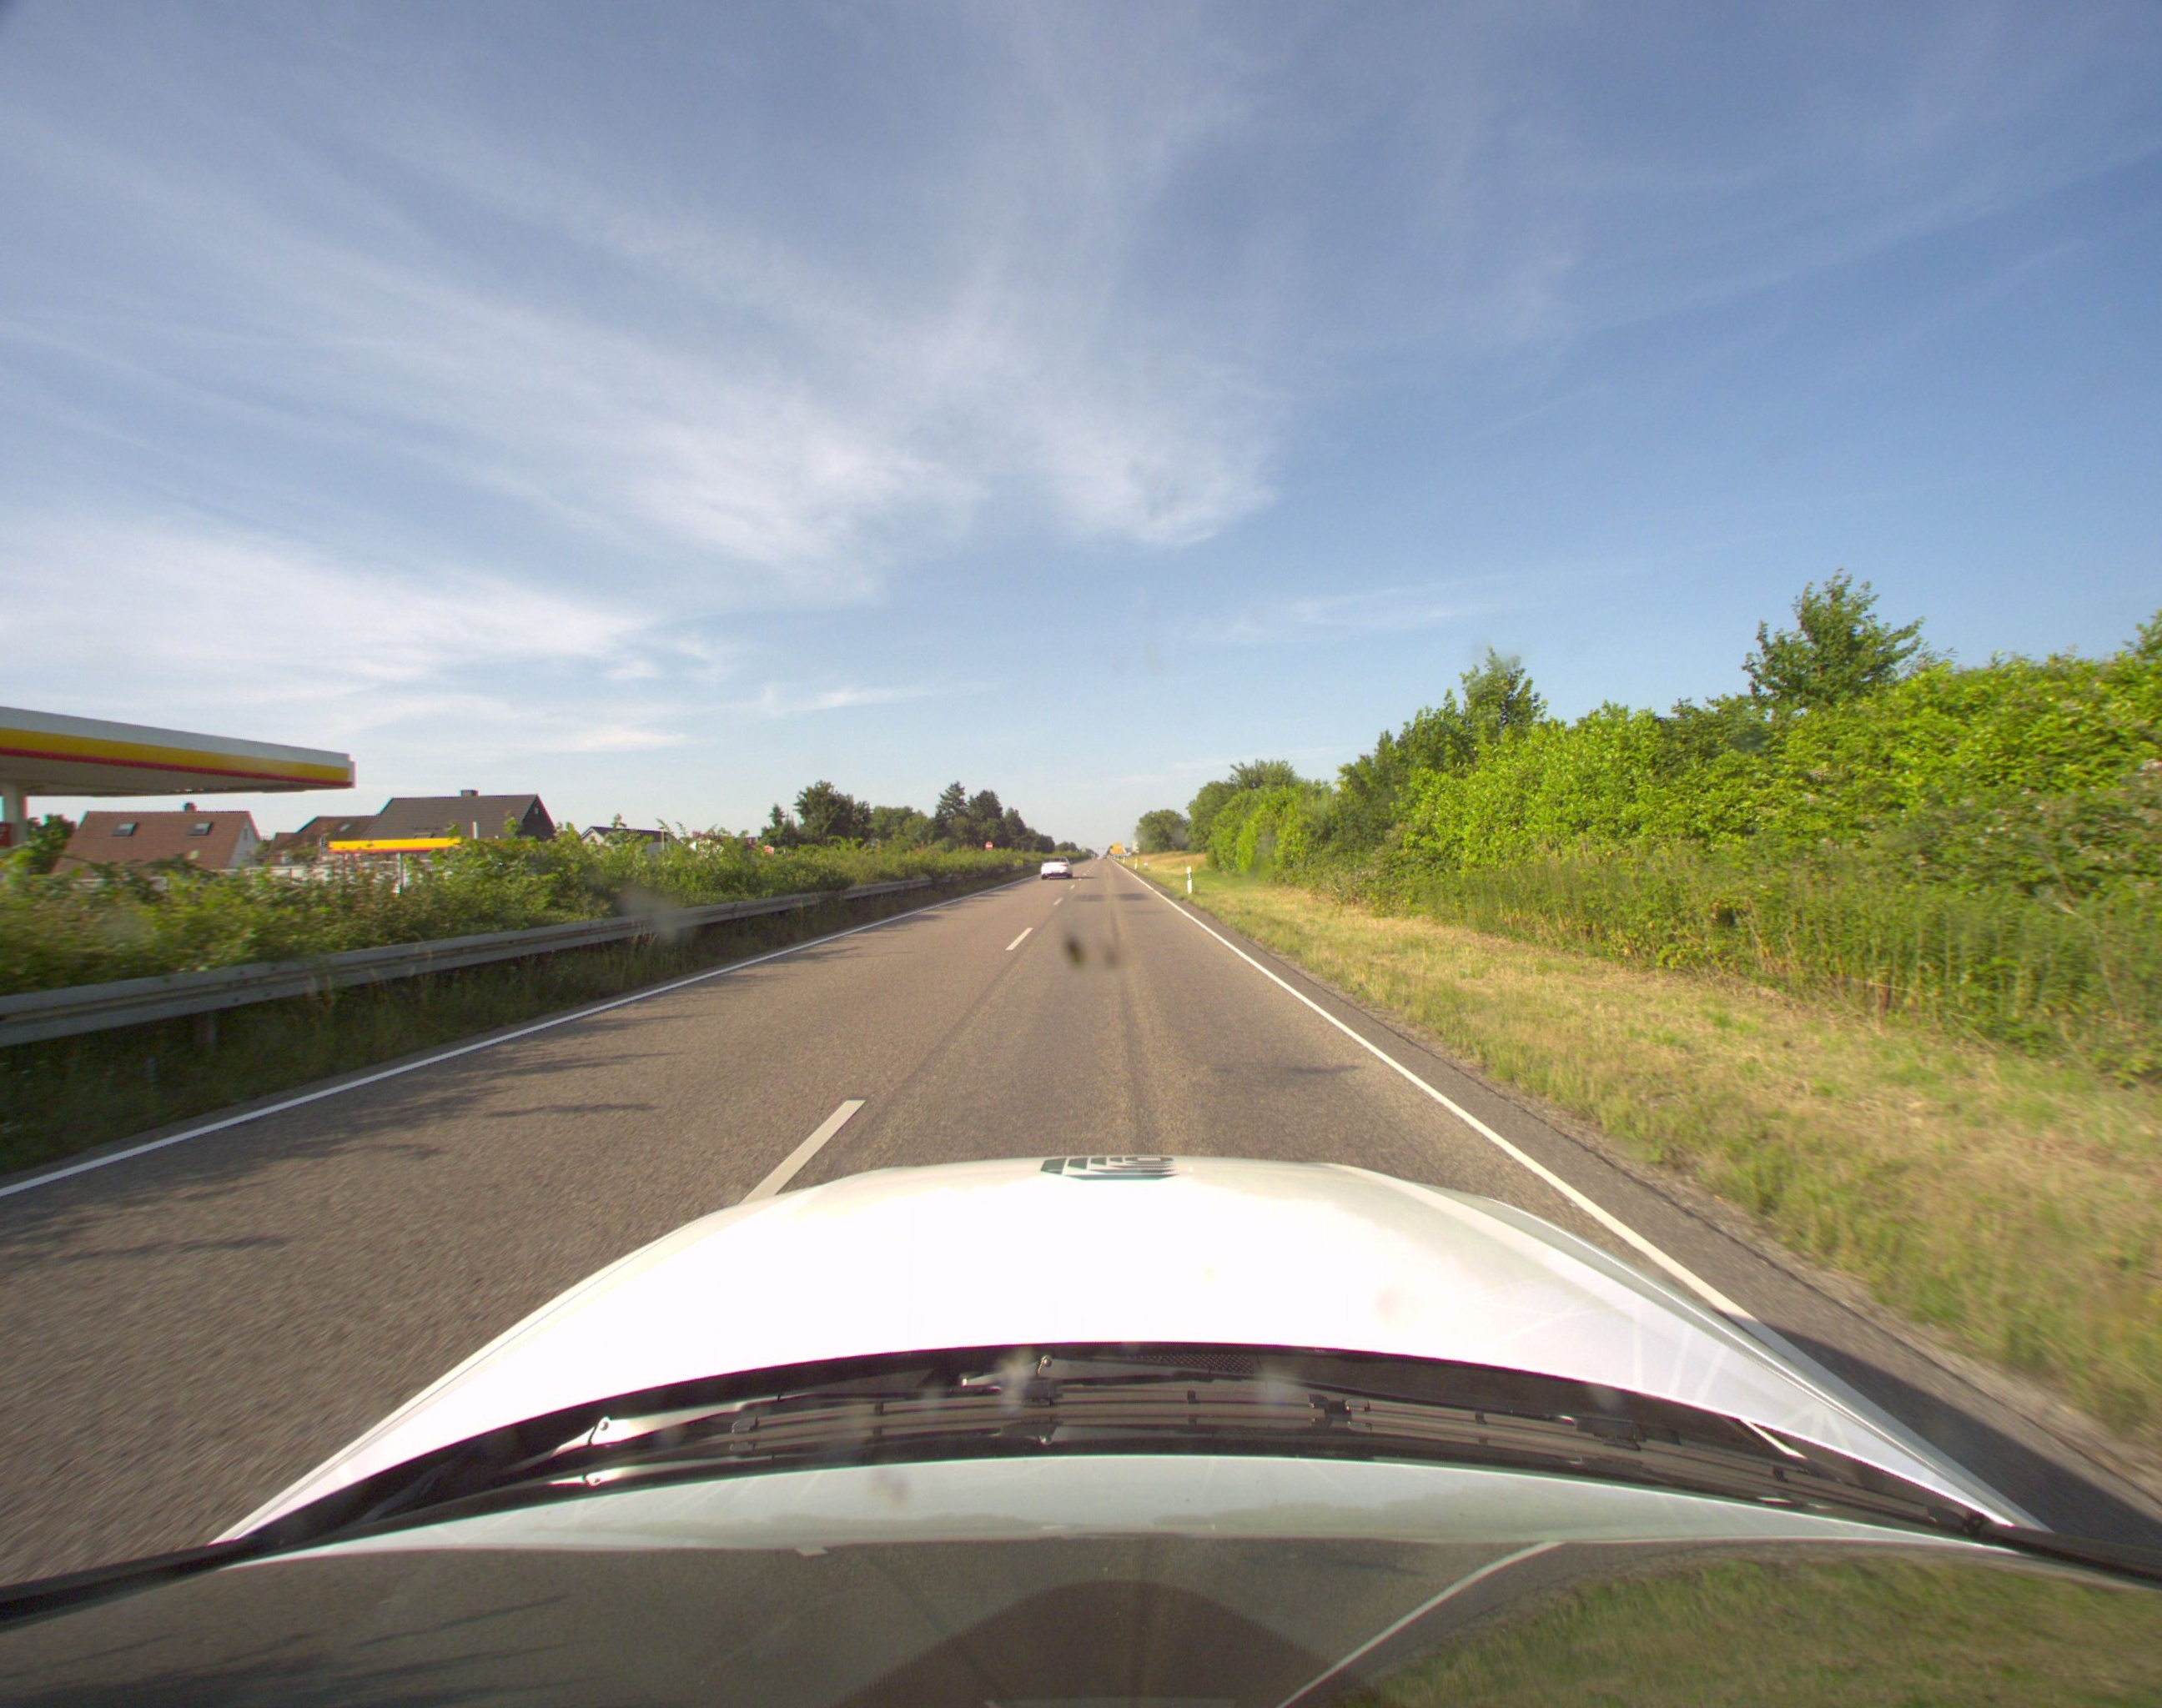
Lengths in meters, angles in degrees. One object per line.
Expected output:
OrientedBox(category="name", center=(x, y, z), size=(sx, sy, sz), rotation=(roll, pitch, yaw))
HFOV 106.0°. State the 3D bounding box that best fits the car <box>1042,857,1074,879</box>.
OrientedBox(category="car", center=(-1.437, 0.868, 52.626), size=(1.764, 1.337, 4.952), rotation=(0, -1, 2))
